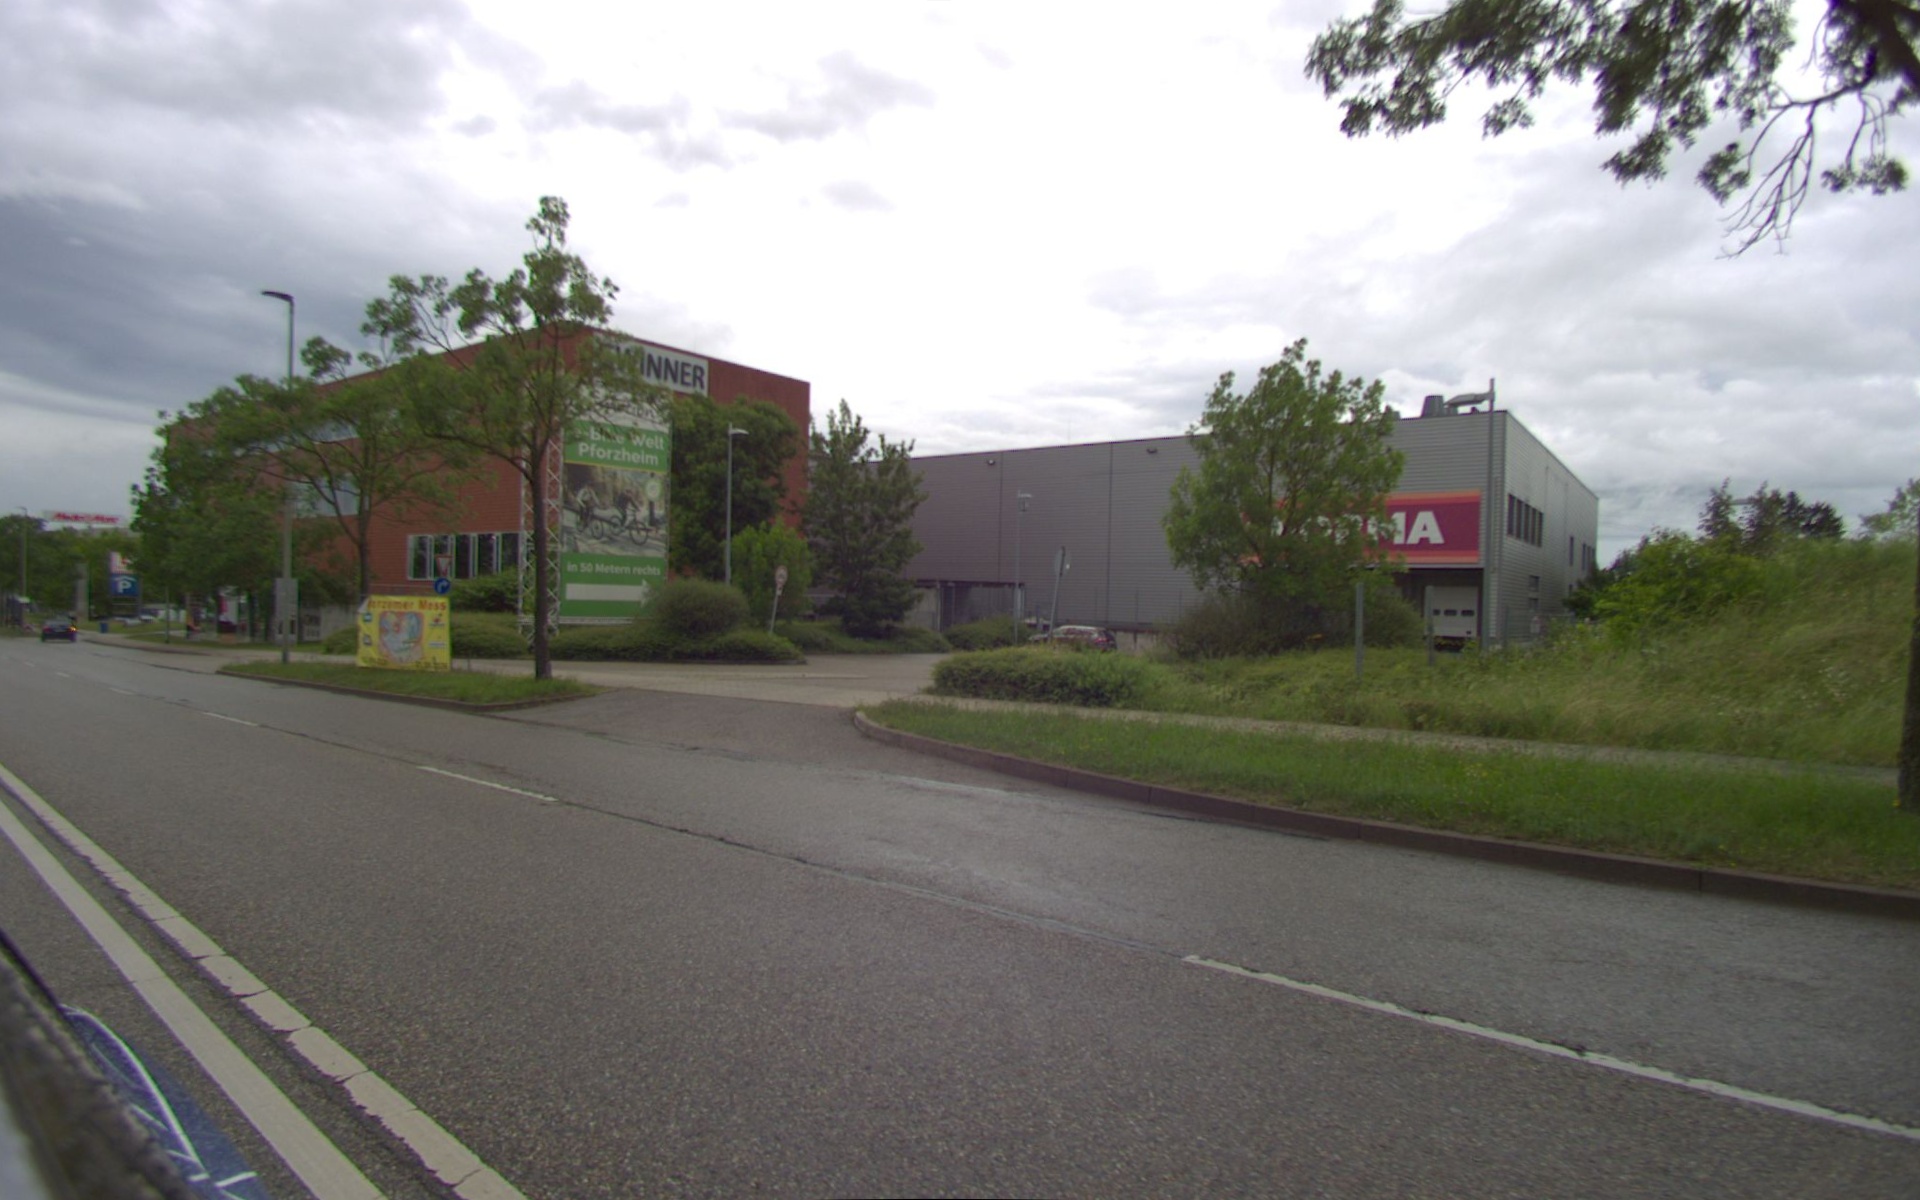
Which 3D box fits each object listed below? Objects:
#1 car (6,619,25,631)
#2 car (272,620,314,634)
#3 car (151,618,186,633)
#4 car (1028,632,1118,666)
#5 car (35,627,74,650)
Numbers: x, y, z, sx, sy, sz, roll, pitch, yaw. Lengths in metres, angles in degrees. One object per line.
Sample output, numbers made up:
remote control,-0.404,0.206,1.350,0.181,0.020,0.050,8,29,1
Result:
car,-131.193,3.501,140.650,1.806,1.630,4.005,-1,0,-42
car,-82.659,3.333,125.454,1.834,1.630,4.006,-1,-2,43
car,-87.817,2.834,112.262,4.430,1.630,1.812,-1,-2,36
car,5.601,2.419,50.425,4.146,1.580,1.755,-1,-2,36
car,-60.538,2.561,67.624,1.716,1.465,4.003,3,-3,-44
